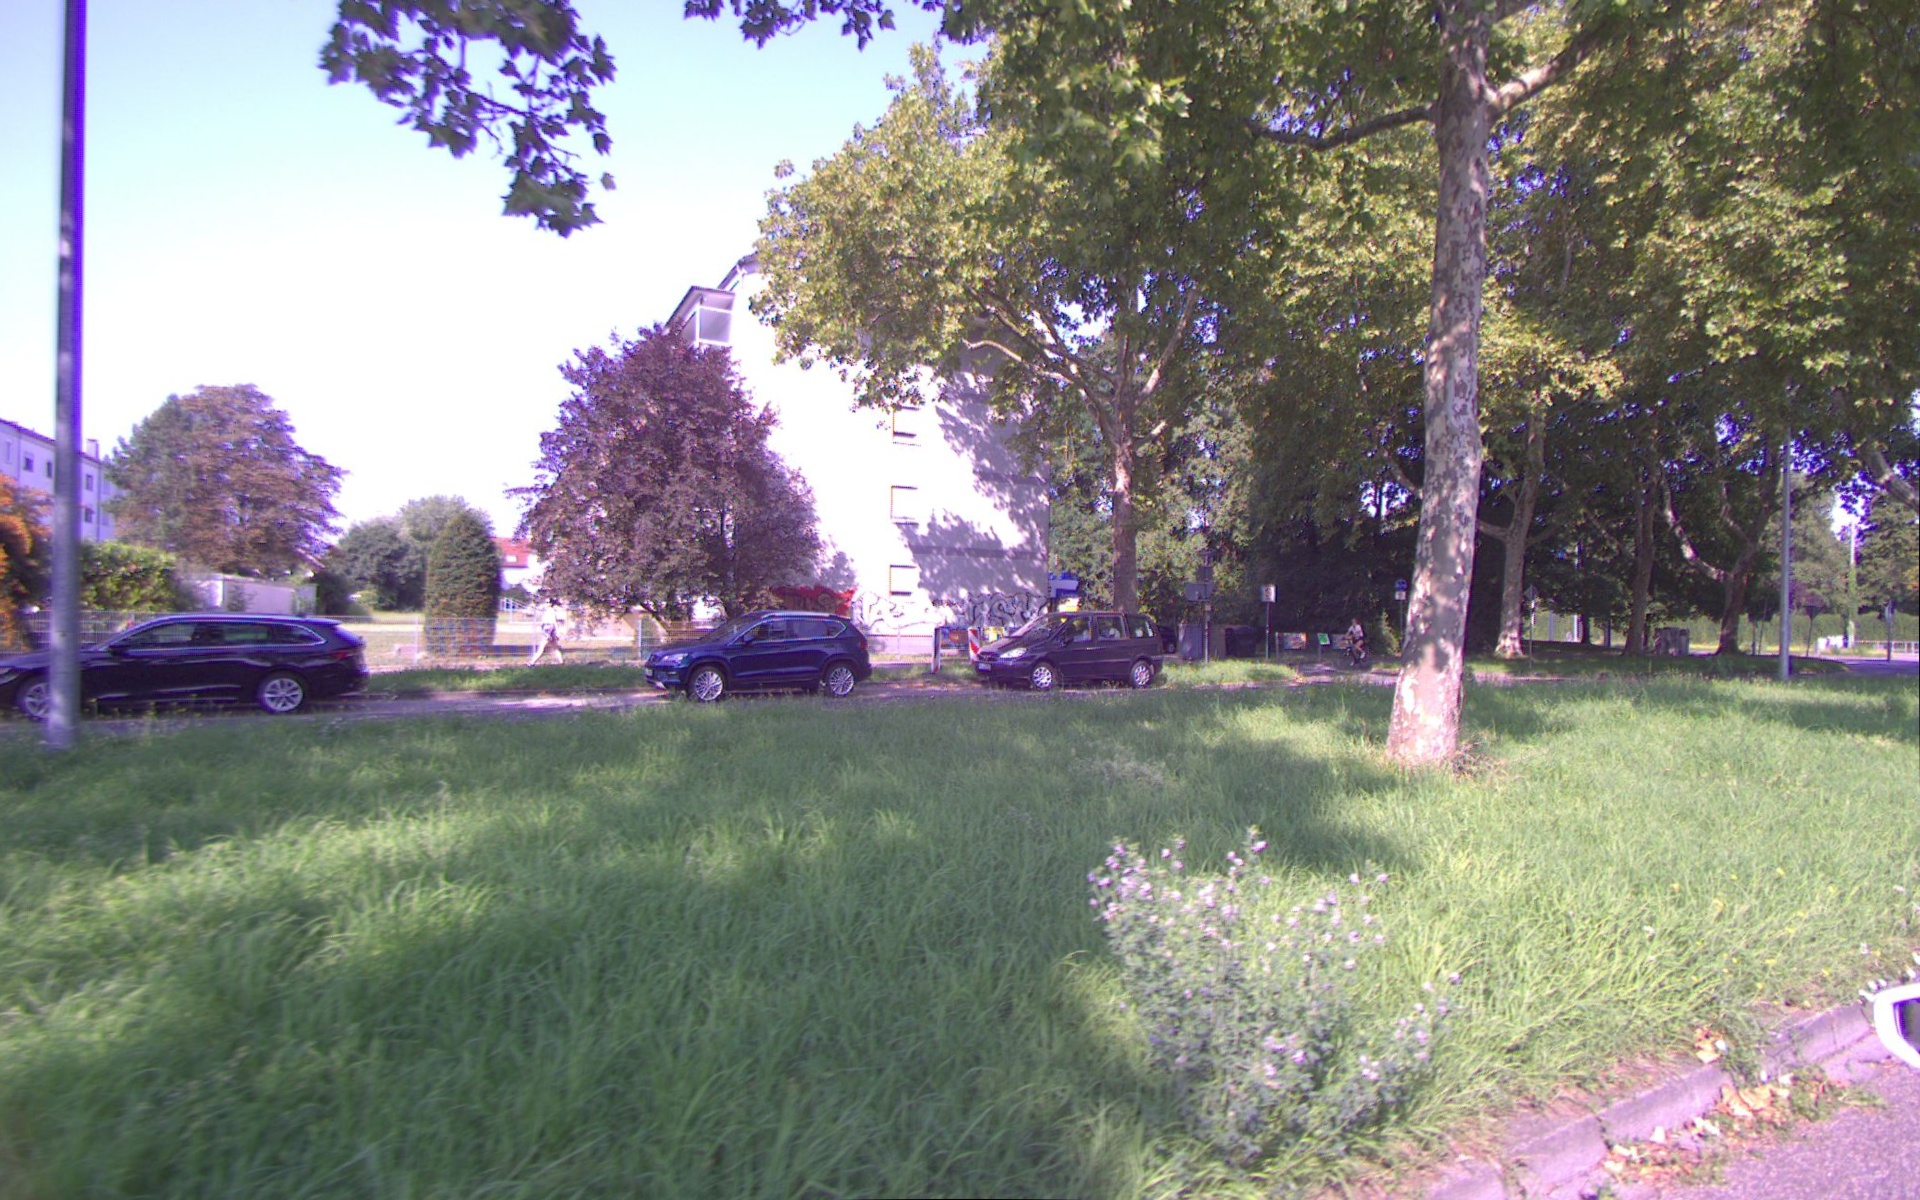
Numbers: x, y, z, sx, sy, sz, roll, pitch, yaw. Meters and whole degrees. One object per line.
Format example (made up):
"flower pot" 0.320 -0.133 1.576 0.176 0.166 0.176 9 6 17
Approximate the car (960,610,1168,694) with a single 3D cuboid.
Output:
"car" 2.428 1.157 23.056 4.603 1.755 1.692 2 0 -29

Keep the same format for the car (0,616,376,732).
"car" -11.409 1.034 15.089 4.486 1.528 1.692 1 -1 -29

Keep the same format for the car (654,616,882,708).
"car" -3.652 1.136 19.240 3.952 1.588 1.692 1 -1 -29

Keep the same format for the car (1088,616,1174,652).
"car" 8.605 1.717 50.533 3.945 1.749 1.692 1 0 -25

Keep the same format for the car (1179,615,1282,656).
"car" 12.040 1.590 44.648 4.328 1.749 1.692 2 0 -25

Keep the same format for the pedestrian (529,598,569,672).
"pedestrian" -9.468 0.799 23.140 0.726 1.667 0.644 1 0 -30

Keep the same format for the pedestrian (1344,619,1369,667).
"pedestrian" 14.199 1.533 36.005 0.651 1.713 0.539 1 0 -33

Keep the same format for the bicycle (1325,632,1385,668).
"bicycle" 14.185 1.780 36.033 2.732 1.215 0.541 2 0 -33
